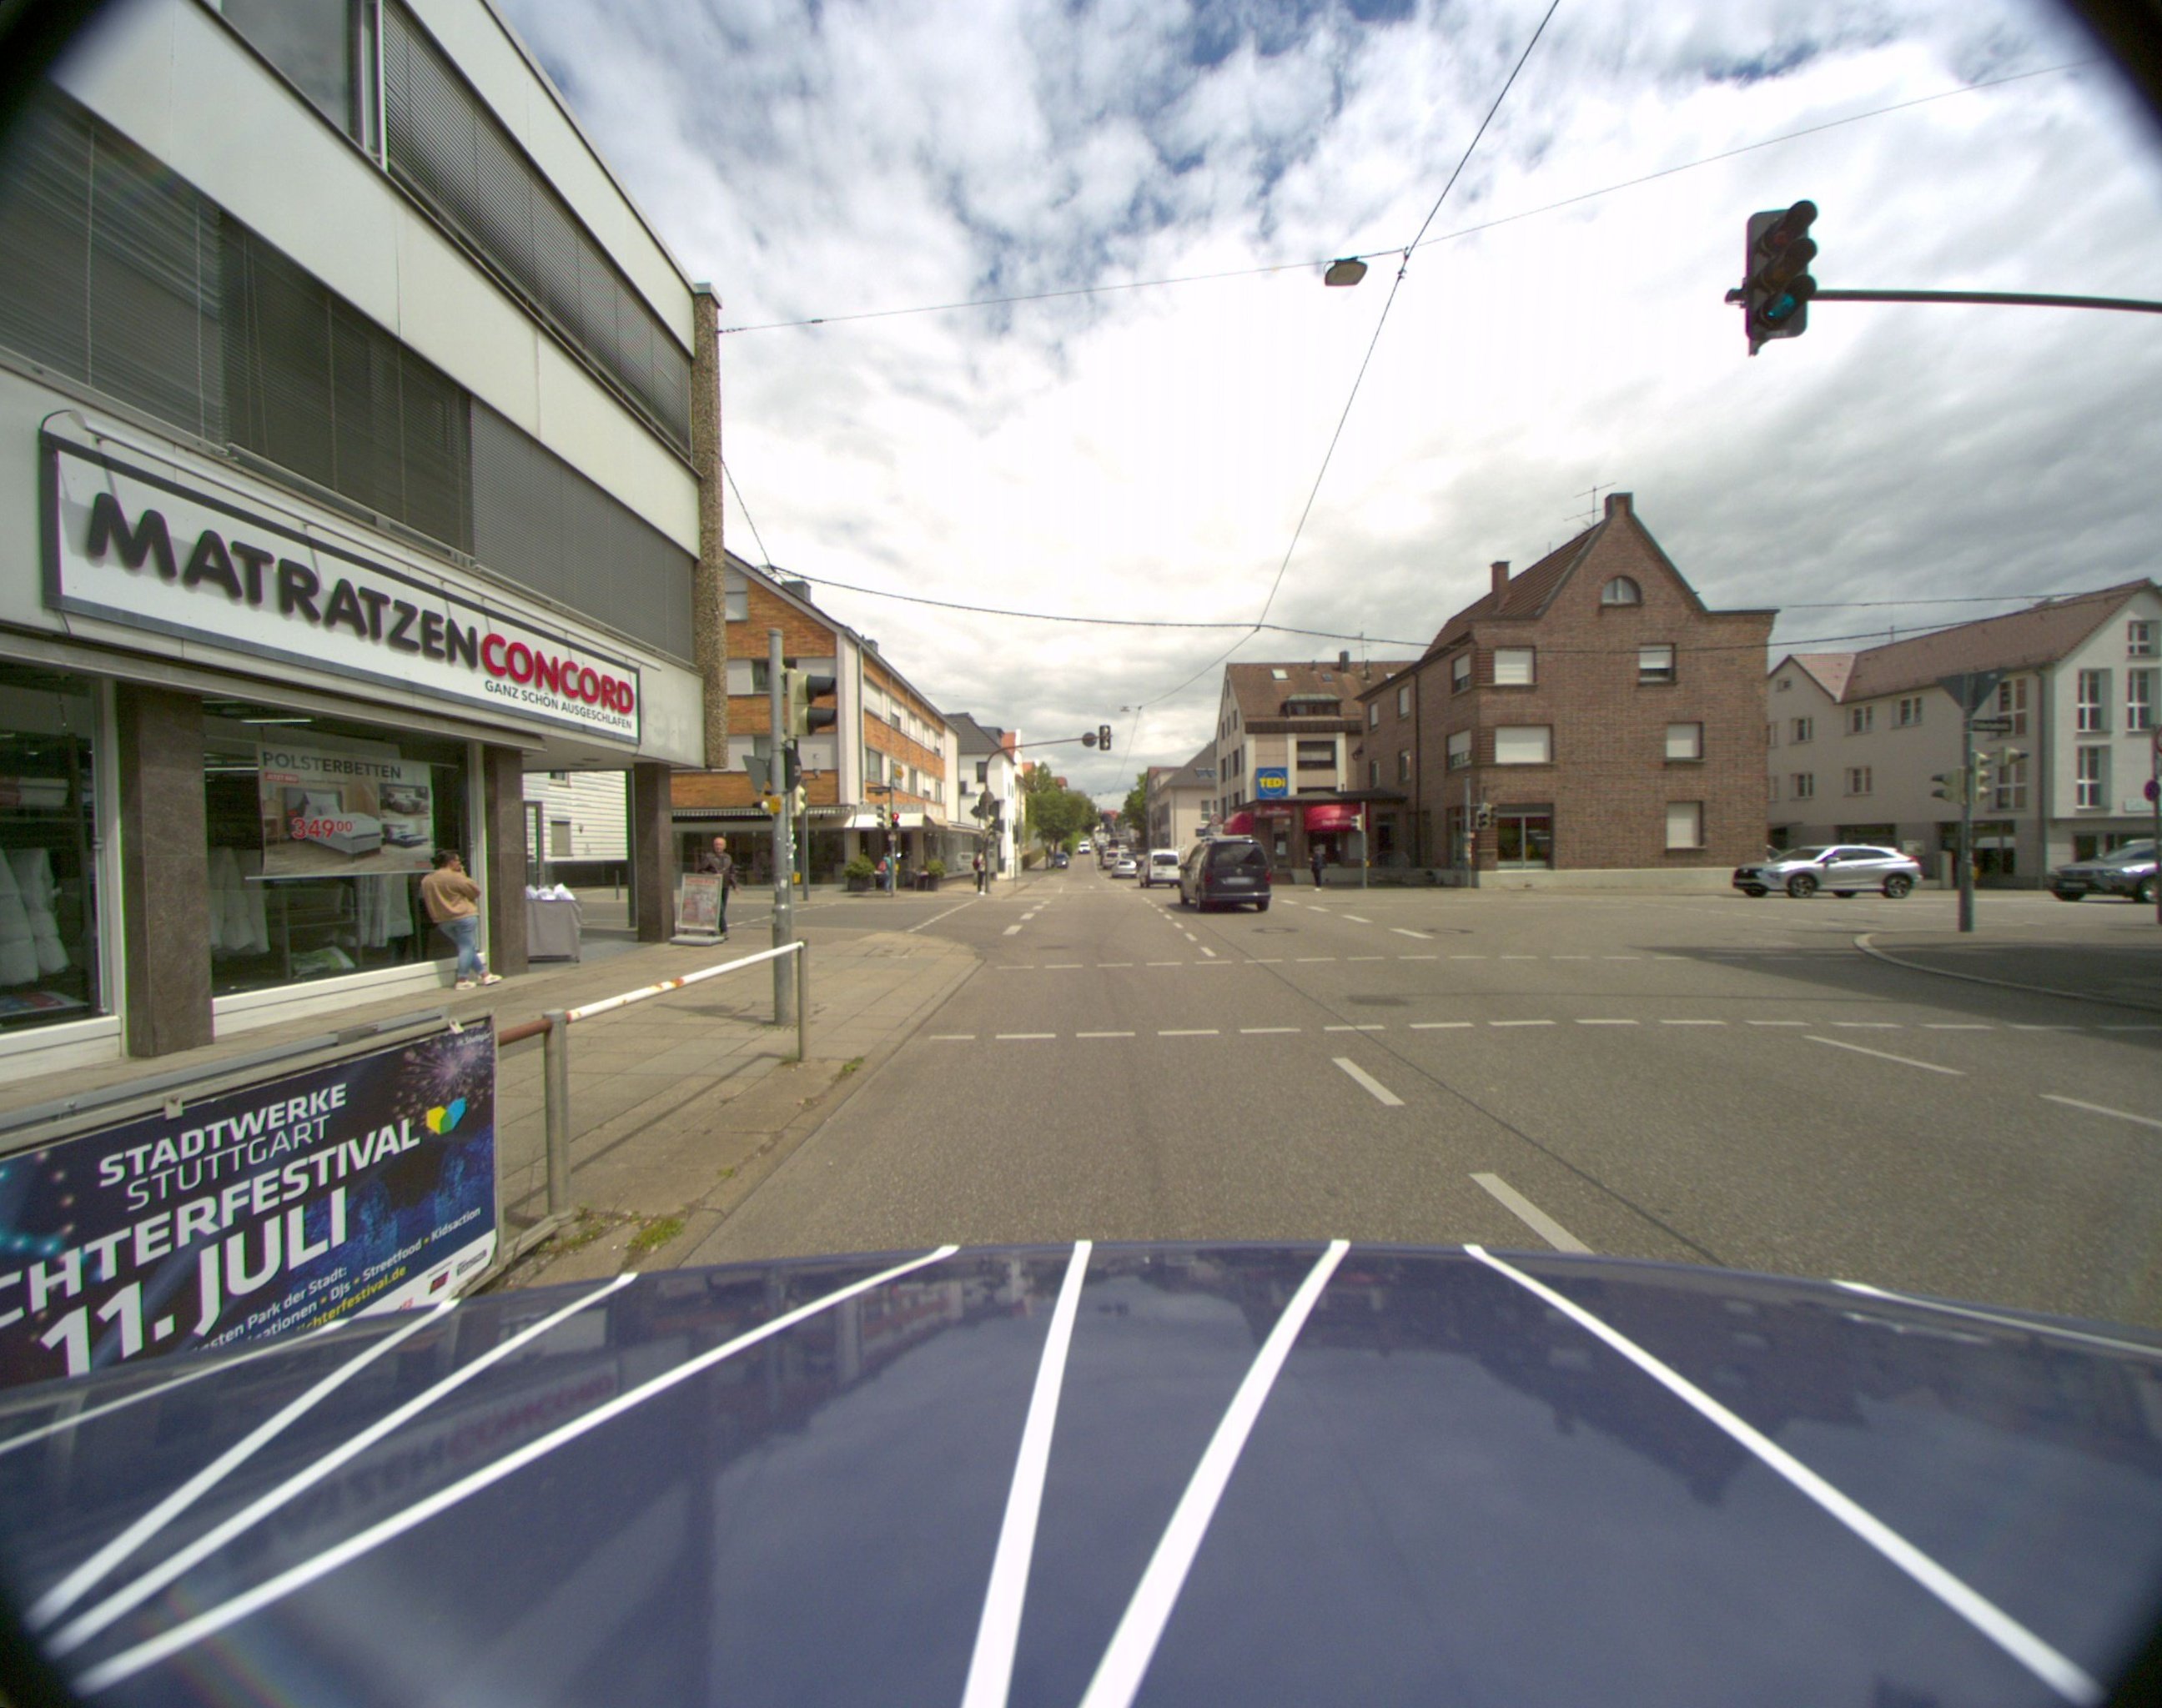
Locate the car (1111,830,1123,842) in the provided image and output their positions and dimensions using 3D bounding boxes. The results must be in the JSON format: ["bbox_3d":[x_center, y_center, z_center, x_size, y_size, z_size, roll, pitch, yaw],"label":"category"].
[{"bbox_3d":[6.822,-3.449,145.297,2.110,2.109,4.765,0,0,1],"label":"car"}]

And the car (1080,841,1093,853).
[{"bbox_3d":[0.830,-1.060,118.907,2.000,1.797,4.764,2,0,-1],"label":"car"}]

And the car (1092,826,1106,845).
[{"bbox_3d":[3.425,-3.517,146.092,2.428,3.409,7.636,0,0,-1],"label":"car"}]

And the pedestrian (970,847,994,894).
[{"bbox_3d":[-3.858,0.630,29.685,0.581,1.820,0.882,1,1,17],"label":"pedestrian"}]

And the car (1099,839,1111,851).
[{"bbox_3d":[4.091,-1.506,130.648,1.858,1.957,4.192,0,0,-1],"label":"car"}]

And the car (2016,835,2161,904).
[{"bbox_3d":[28.186,0.391,20.100,4.348,1.744,2.000,0,0,1],"label":"car"}]

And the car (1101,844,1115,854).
[{"bbox_3d":[4.131,-0.784,115.874,1.858,1.414,4.192,0,0,-1],"label":"car"}]

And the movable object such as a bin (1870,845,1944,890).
[{"bbox_3d":[31.442,0.512,28.940,1.519,1.615,1.145,-2,1,4],"label":"movable object such as a bin"}]

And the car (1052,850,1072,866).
[{"bbox_3d":[-2.095,0.385,82.807,1.998,1.654,4.000,0,0,1],"label":"car"}]

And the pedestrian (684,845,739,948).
[{"bbox_3d":[-6.217,0.692,12.829,0.798,1.661,0.805,0,1,-24],"label":"pedestrian"}]

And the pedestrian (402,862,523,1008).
[{"bbox_3d":[-6.628,0.841,8.175,0.681,1.490,0.720,0,1,1],"label":"pedestrian"}]

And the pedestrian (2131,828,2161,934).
[{"bbox_3d":[18.233,0.432,12.552,0.846,1.729,0.820,-2,1,-20],"label":"pedestrian"}]

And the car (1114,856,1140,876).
[{"bbox_3d":[3.569,0.936,59.915,1.757,1.478,3.970,0,0,-1],"label":"car"}]

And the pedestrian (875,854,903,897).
[{"bbox_3d":[-6.978,0.755,27.588,0.820,1.517,0.778,-1,1,-28],"label":"pedestrian"}]

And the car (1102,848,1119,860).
[{"bbox_3d":[3.505,-0.004,91.509,1.858,1.371,4.271,0,0,-1],"label":"car"}]

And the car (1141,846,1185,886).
[{"bbox_3d":[4.034,0.566,37.917,1.819,1.919,4.112,0,0,1],"label":"car"}]

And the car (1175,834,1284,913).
[{"bbox_3d":[3.813,0.442,20.378,1.953,1.866,4.876,0,0,0],"label":"car"}]

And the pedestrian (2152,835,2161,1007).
[{"bbox_3d":[10.609,0.628,6.910,0.719,1.635,0.682,-2,1,6],"label":"pedestrian"}]

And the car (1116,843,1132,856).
[{"bbox_3d":[6.345,-0.694,111.981,2.110,1.778,4.529,-1,0,1],"label":"car"}]

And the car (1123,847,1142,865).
[{"bbox_3d":[6.338,0.265,94.319,2.110,2.109,4.765,-1,0,1],"label":"car"}]

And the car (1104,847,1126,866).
[{"bbox_3d":[3.552,0.240,79.352,1.982,1.985,5.027,0,0,-1],"label":"car"}]

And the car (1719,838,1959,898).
[{"bbox_3d":[23.262,0.441,23.507,5.254,1.758,2.001,0,0,4],"label":"car"}]

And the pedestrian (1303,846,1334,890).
[{"bbox_3d":[9.465,0.546,30.259,0.908,1.713,0.849,-1,1,-41],"label":"pedestrian"}]
